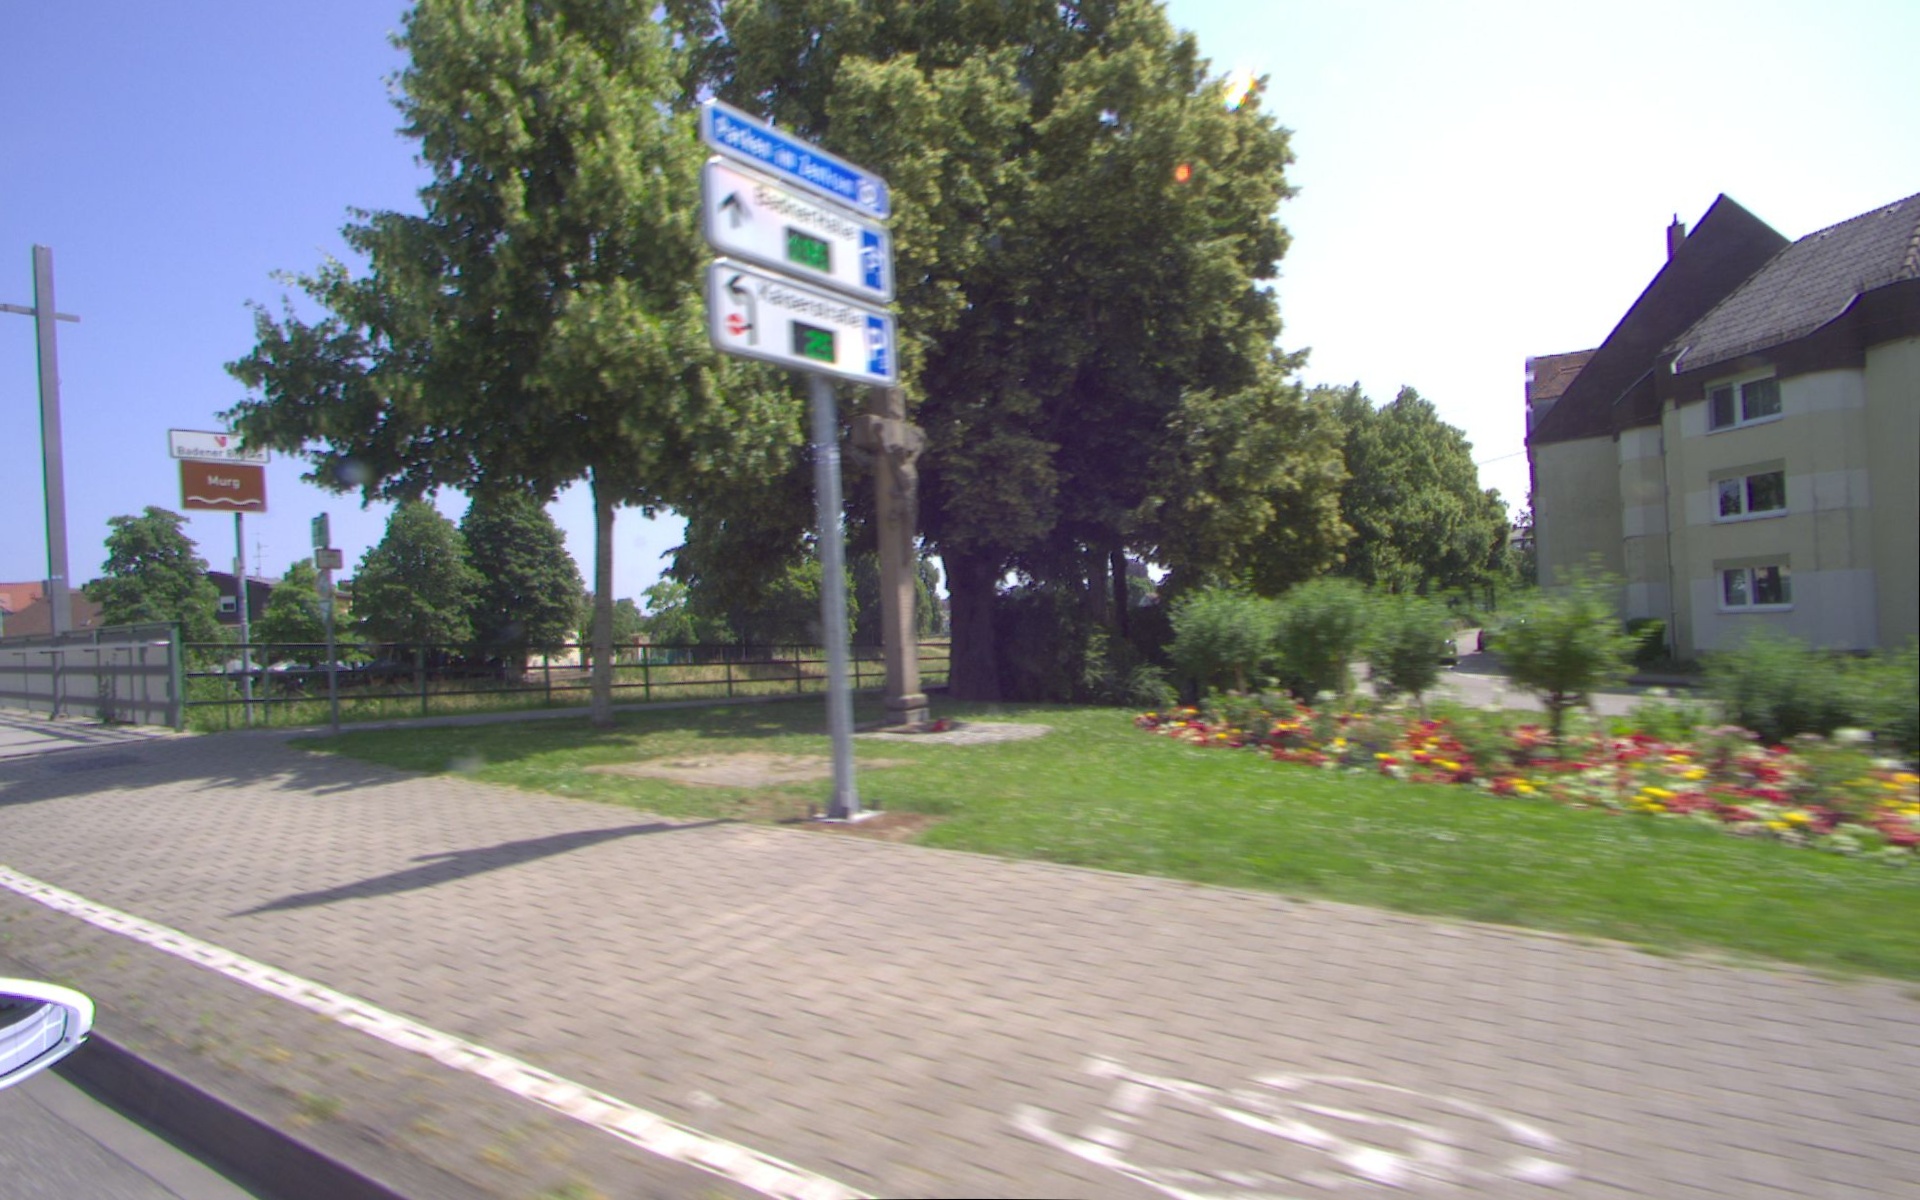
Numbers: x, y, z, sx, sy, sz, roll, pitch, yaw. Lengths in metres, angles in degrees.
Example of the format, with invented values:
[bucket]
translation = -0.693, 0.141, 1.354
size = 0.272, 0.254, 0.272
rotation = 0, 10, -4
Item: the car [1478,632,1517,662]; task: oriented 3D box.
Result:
[car]
translation = 30.095, 2.634, 56.084
size = 1.801, 1.571, 3.985
rotation = -2, -3, 28
